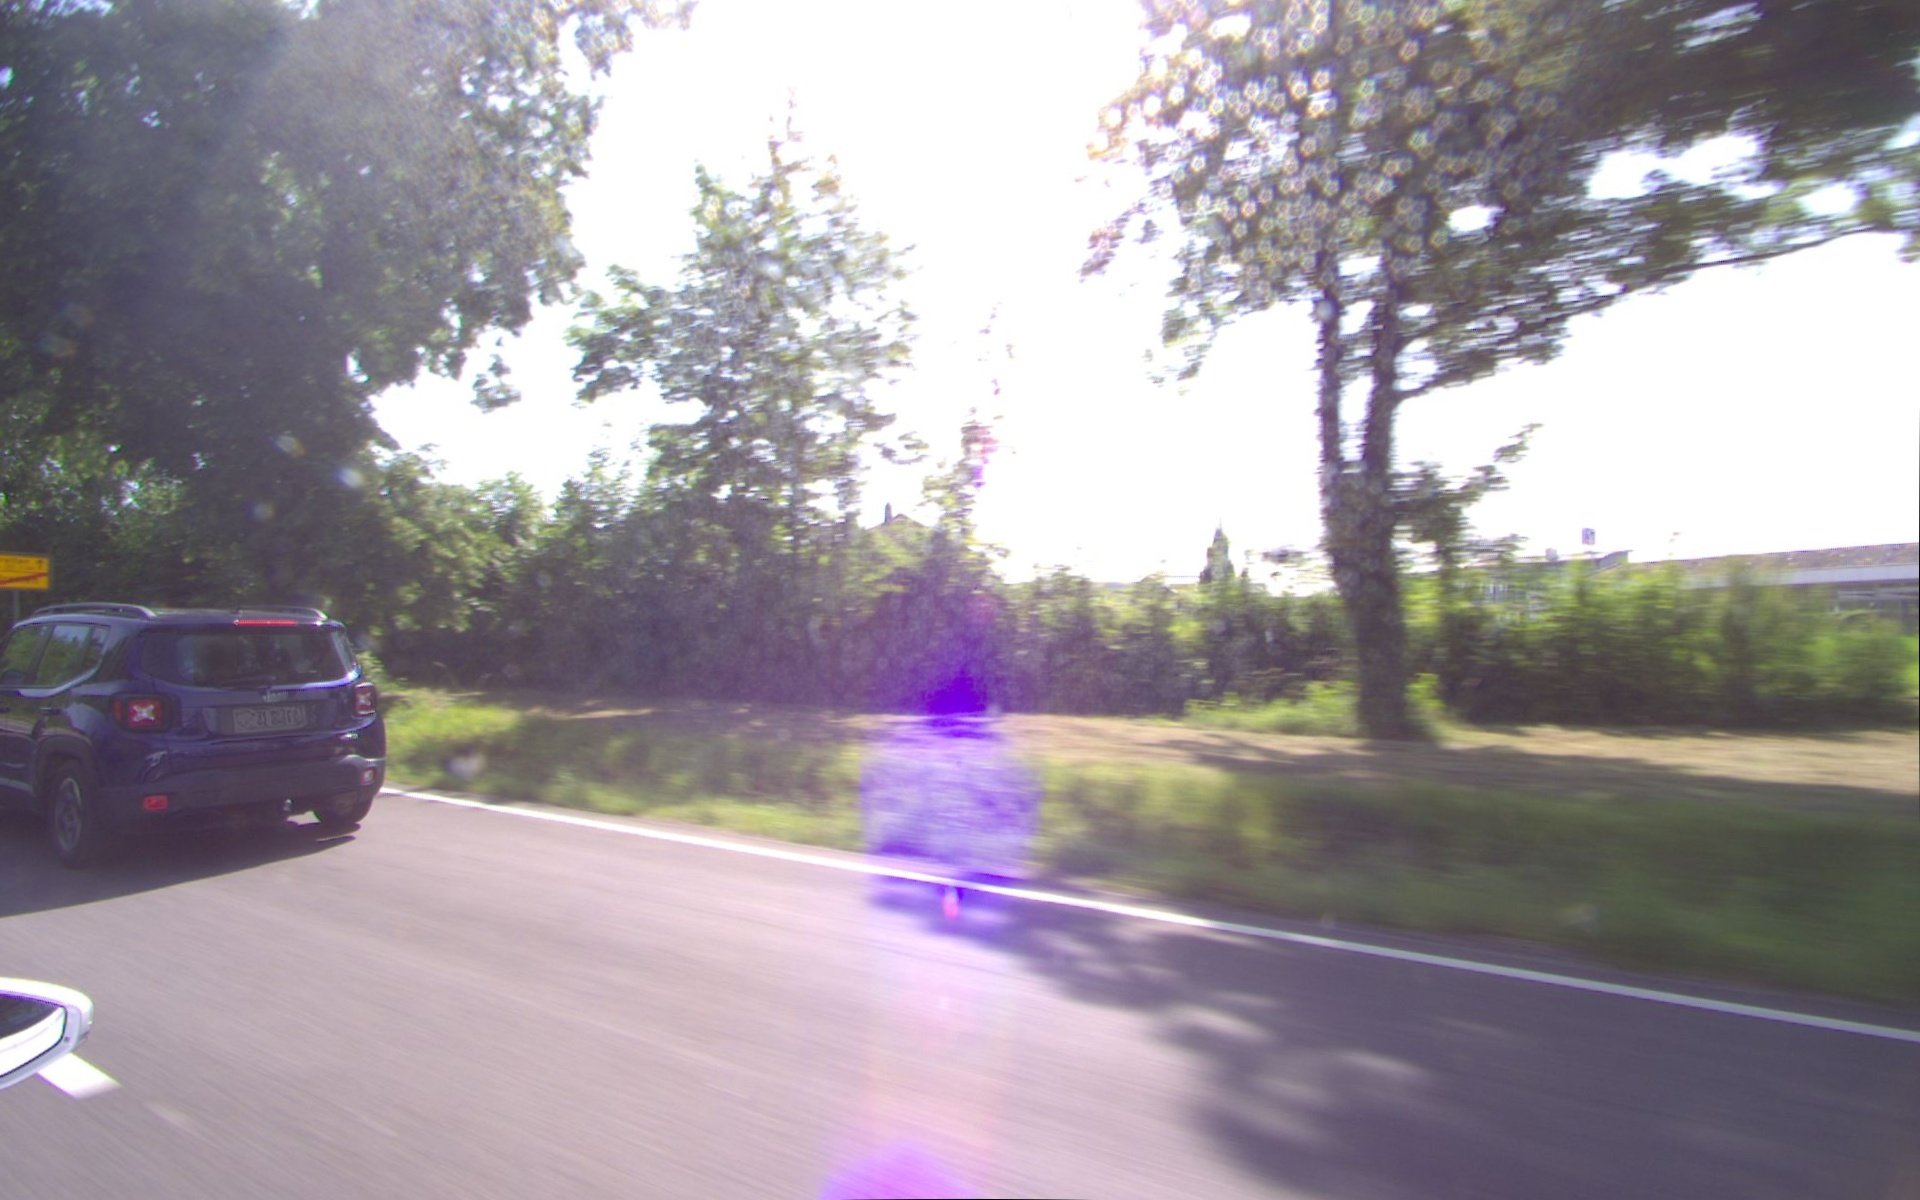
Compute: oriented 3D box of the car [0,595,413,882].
[{"bbox_3d":[-6.166,0.852,7.618,3.942,1.676,1.767,-1,0,31],"label":"car"}]
